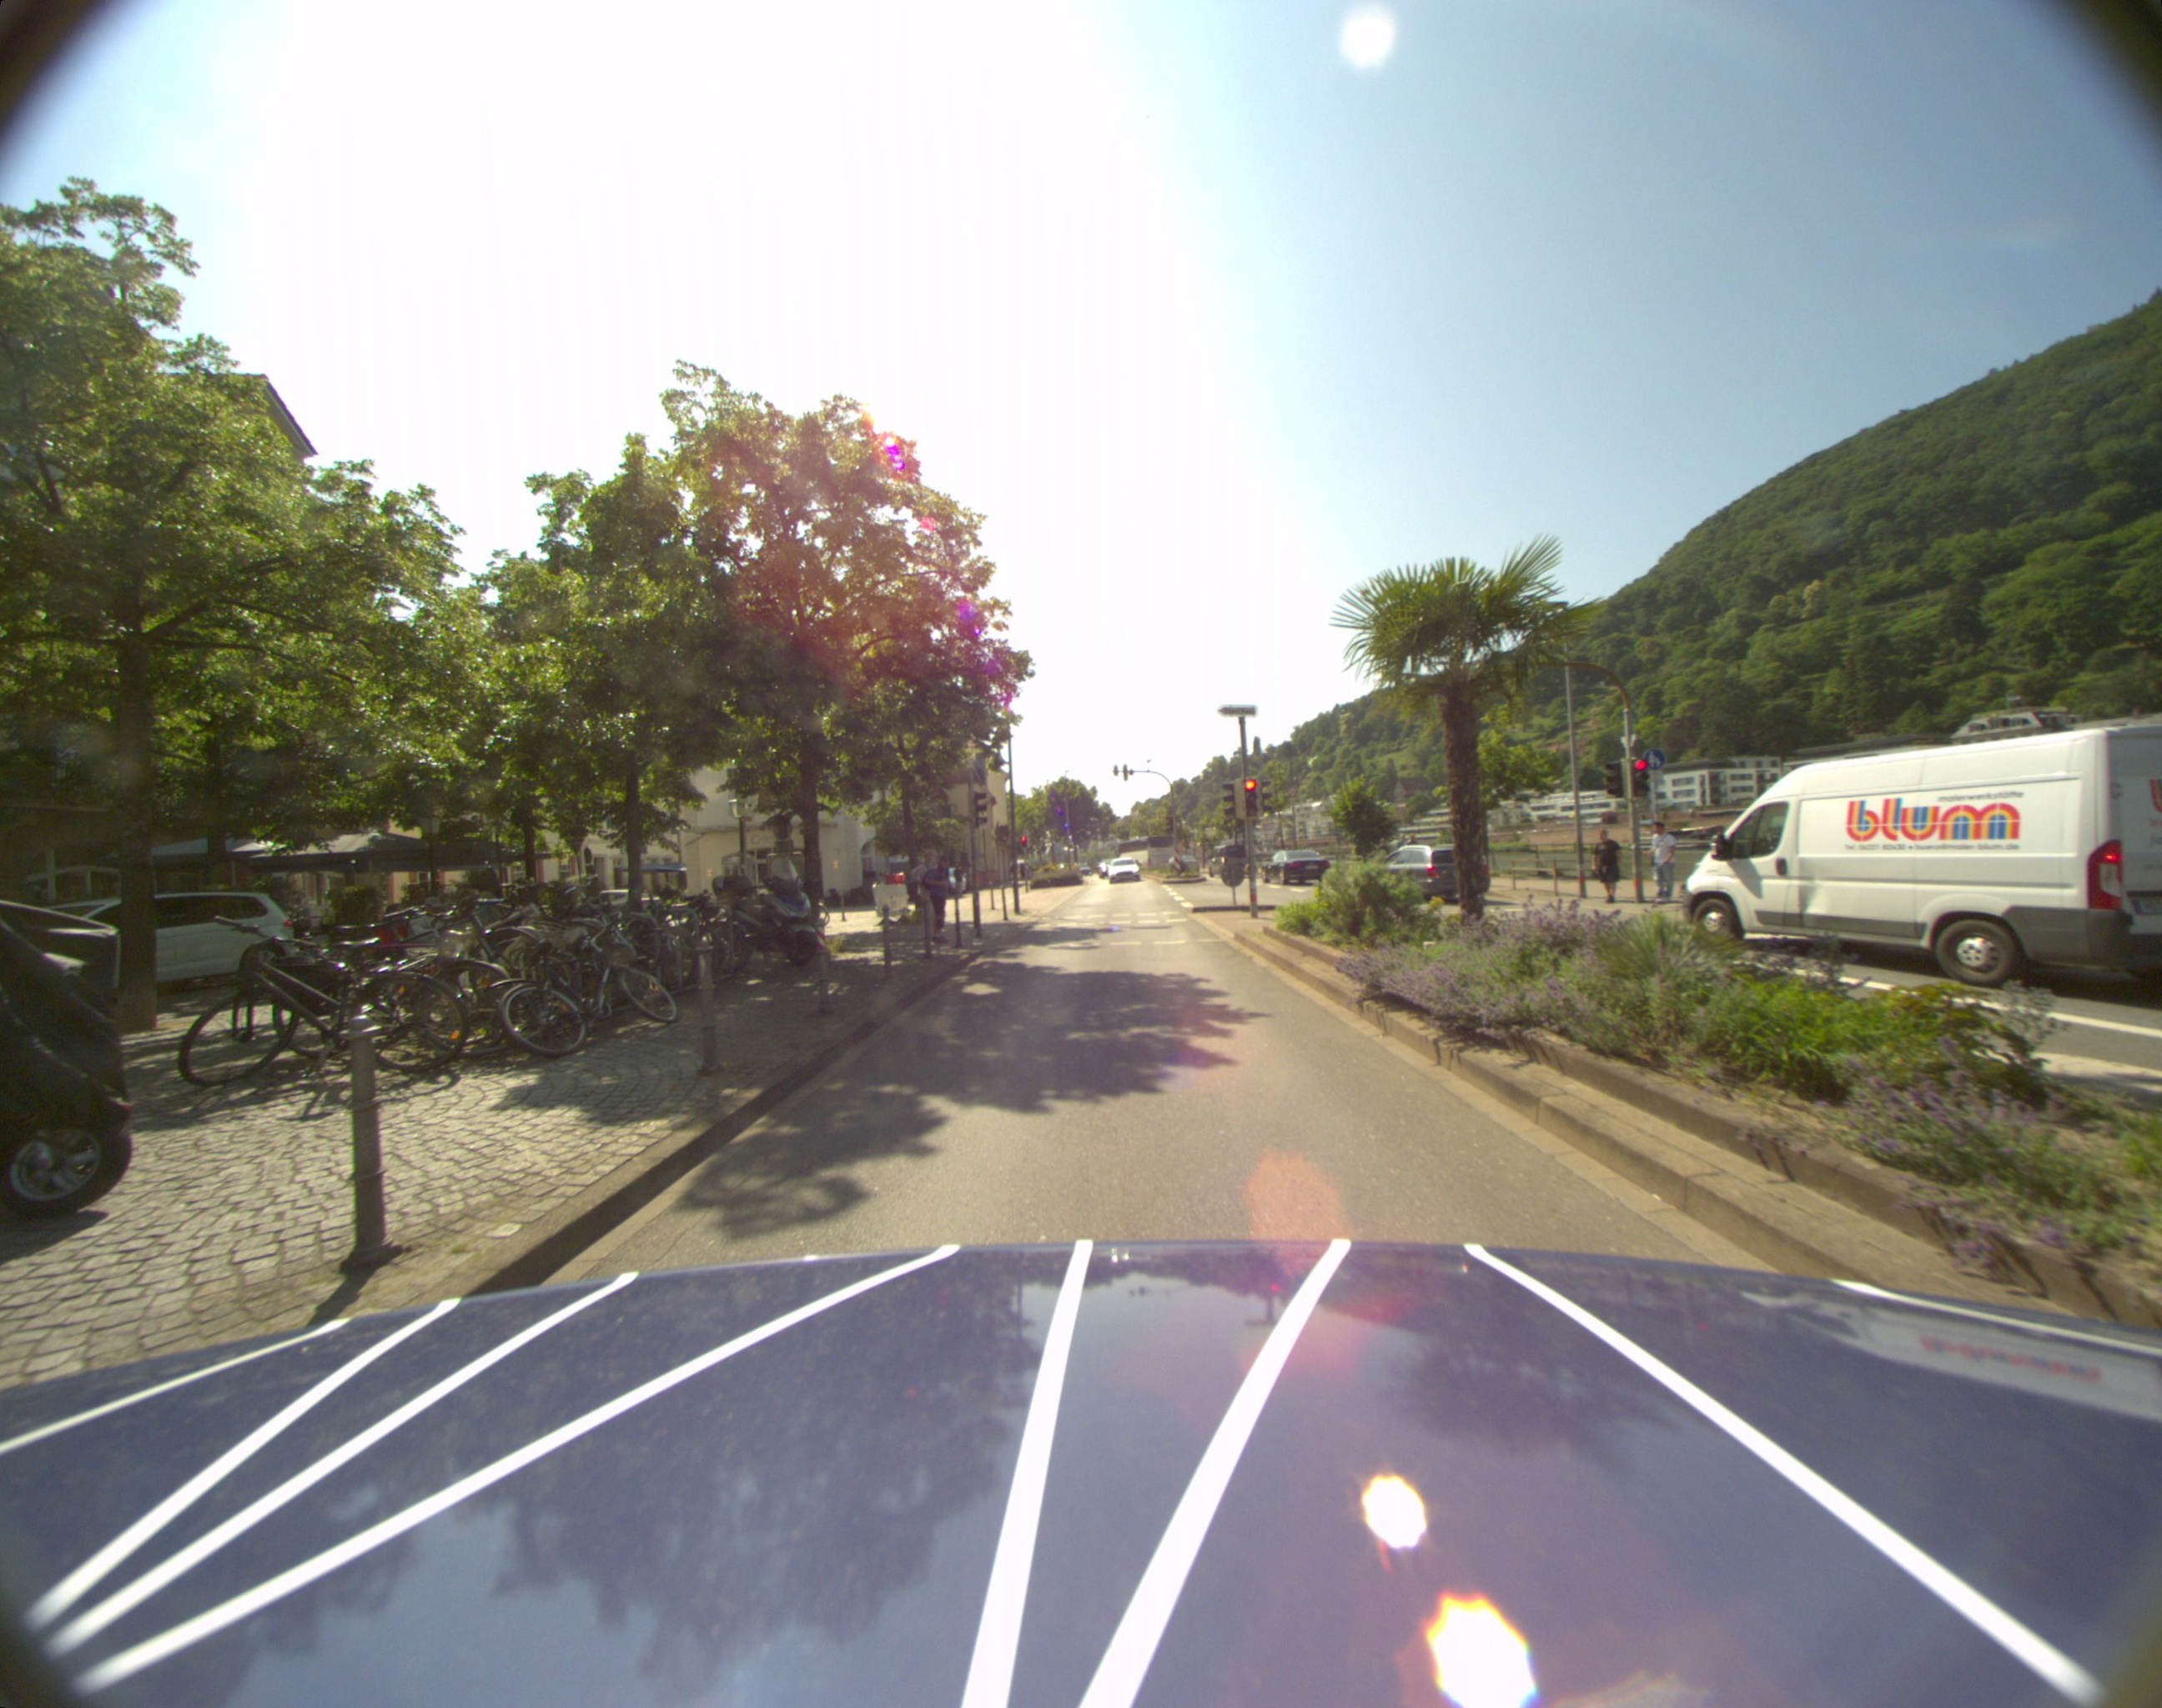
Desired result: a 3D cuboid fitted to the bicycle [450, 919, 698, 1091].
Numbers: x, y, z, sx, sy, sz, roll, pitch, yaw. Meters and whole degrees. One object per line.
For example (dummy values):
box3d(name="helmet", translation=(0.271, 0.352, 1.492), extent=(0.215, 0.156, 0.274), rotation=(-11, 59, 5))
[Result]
box3d(name="bicycle", translation=(-3.945, 1.120, 6.114), extent=(0.539, 1.002, 1.755), rotation=(-2, 1, 11))

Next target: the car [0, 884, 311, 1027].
box3d(name="car", translation=(-15.078, 1.483, 11.672), extent=(1.839, 1.780, 4.462), rotation=(-5, -1, 0))

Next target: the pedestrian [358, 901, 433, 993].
box3d(name="pedestrian", translation=(-10.092, 1.355, 11.199), extent=(0.493, 1.256, 0.580), rotation=(-2, 1, 4))

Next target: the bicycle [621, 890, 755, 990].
box3d(name="bicycle", translation=(-4.888, 1.038, 9.441), extent=(1.629, 1.163, 0.425), rotation=(-1, 1, 18))

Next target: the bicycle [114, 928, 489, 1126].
box3d(name="bicycle", translation=(-5.048, 1.094, 5.014), extent=(1.754, 1.126, 0.540), rotation=(0, 1, -7))

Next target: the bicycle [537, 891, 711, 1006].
box3d(name="bicycle", translation=(-5.053, 1.034, 8.462), extent=(1.632, 1.210, 0.413), rotation=(0, 1, -5))

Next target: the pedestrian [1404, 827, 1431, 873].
box3d(name="pedestrian", translation=(13.764, -0.168, 31.059), extent=(0.794, 1.846, 0.579), rotation=(-2, 1, -3))

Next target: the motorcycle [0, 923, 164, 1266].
box3d(name="motorcycle", translation=(-5.310, 0.984, 3.422), extent=(2.532, 1.268, 0.725), rotation=(-2, 1, 22))

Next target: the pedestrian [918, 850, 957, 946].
box3d(name="pedestrian", translation=(-2.709, 0.819, 14.361), extent=(0.541, 1.767, 0.582), rotation=(-1, 1, 4))

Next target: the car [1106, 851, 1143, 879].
box3d(name="car", translation=(2.569, 0.626, 45.469), extent=(1.998, 1.497, 4.591), rotation=(-2, 1, 1))

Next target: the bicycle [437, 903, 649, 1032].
box3d(name="bicycle", translation=(-5.043, 1.048, 7.176), extent=(1.632, 1.126, 0.413), rotation=(0, 1, -5))

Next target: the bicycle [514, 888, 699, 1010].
box3d(name="bicycle", translation=(-4.977, 0.985, 8.029), extent=(1.632, 1.210, 0.413), rotation=(0, 1, -5))

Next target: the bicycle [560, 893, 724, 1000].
box3d(name="bicycle", translation=(-5.043, 1.053, 8.768), extent=(1.632, 1.163, 0.350), rotation=(0, 1, -5))

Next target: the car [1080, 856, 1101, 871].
box3d(name="car", translation=(1.024, 0.994, 81.373), extent=(1.999, 1.497, 4.590), rotation=(-2, 1, -2))

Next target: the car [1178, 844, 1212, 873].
box3d(name="car", translation=(8.478, 0.312, 56.809), extent=(1.998, 2.002, 4.000), rotation=(-2, 1, 1))

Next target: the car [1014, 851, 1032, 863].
box3d(name="car", translation=(-9.651, 0.439, 126.447), extent=(2.001, 1.750, 4.583), rotation=(-3, 3, -18))

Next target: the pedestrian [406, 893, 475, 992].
box3d(name="pedestrian", translation=(-9.958, 1.364, 11.821), extent=(0.493, 1.451, 0.580), rotation=(-2, 1, 4))

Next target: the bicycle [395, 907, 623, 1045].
box3d(name="bicycle", translation=(-5.033, 1.057, 6.743), extent=(1.632, 1.126, 0.413), rotation=(0, 1, -5))

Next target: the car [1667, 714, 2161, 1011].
box3d(name="car", translation=(9.762, 0.041, 8.802), extent=(2.200, 2.511, 4.747), rotation=(0, 1, -1))

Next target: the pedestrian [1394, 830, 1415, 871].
box3d(name="pedestrian", translation=(13.935, -0.146, 32.728), extent=(0.593, 1.742, 0.503), rotation=(-2, 1, -3))

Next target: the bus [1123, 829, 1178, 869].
box3d(name="bus", translation=(6.418, -0.501, 72.246), extent=(2.657, 3.368, 10.785), rotation=(-3, 1, -8))

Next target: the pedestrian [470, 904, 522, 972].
box3d(name="pedestrian", translation=(-9.897, 1.409, 12.862), extent=(0.425, 1.068, 0.527), rotation=(-2, 1, -1))

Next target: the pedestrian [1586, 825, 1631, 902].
box3d(name="pedestrian", translation=(12.157, 0.232, 17.505), extent=(0.396, 1.704, 0.609), rotation=(-9, 1, -40))

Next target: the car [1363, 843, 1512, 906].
box3d(name="car", translation=(9.615, 0.479, 20.922), extent=(1.999, 1.444, 4.260), rotation=(-4, 1, 0))

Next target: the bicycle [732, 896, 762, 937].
box3d(name="bicycle", translation=(-8.562, 1.575, 19.443), extent=(0.329, 0.973, 1.623), rotation=(-2, 0, -36))

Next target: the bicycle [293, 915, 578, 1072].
box3d(name="bicycle", translation=(-5.039, 1.071, 5.997), extent=(1.753, 1.126, 0.464), rotation=(0, 1, -5))

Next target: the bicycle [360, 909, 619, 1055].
box3d(name="bicycle", translation=(-4.961, 1.056, 6.442), extent=(1.753, 1.126, 0.464), rotation=(0, 1, -5))

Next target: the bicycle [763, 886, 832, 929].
box3d(name="bicycle", translation=(-7.729, 1.468, 20.739), extent=(1.881, 1.124, 0.329), rotation=(-2, 0, 15))

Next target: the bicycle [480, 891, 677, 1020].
box3d(name="bicycle", translation=(-4.996, 0.998, 7.608), extent=(1.632, 1.210, 0.413), rotation=(0, 1, -5))

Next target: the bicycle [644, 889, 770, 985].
box3d(name="bicycle", translation=(-4.796, 1.045, 9.735), extent=(1.629, 1.163, 0.367), rotation=(-1, 1, 18))

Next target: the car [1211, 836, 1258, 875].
box3d(name="car", translation=(9.218, 0.049, 46.140), extent=(1.869, 2.137, 5.022), rotation=(-3, 1, 1))

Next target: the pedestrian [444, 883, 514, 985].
box3d(name="pedestrian", translation=(-9.389, 1.233, 11.874), extent=(0.493, 1.499, 0.667), rotation=(-2, 1, -1))

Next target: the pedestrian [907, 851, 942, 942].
box3d(name="pedestrian", translation=(-3.099, 0.826, 15.094), extent=(0.541, 1.767, 0.582), rotation=(-2, 1, -2))

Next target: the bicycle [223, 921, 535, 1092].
box3d(name="bicycle", translation=(-5.096, 1.086, 5.584), extent=(1.753, 1.126, 0.464), rotation=(0, 1, -5))

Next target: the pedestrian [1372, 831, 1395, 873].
box3d(name="pedestrian", translation=(13.039, -0.093, 32.763), extent=(0.593, 1.742, 0.780), rotation=(-2, 1, -3))

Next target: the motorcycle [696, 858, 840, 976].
box3d(name="motorcycle", translation=(-4.534, 0.861, 10.948), extent=(2.196, 1.519, 0.800), rotation=(-2, 1, 36))

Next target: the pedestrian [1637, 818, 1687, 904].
box3d(name="pedestrian", translation=(12.470, 0.156, 16.314), extent=(0.396, 1.783, 0.609), rotation=(-9, 1, -40))

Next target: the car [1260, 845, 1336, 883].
box3d(name="car", translation=(9.195, 0.372, 32.590), extent=(1.998, 1.449, 4.643), rotation=(-2, 1, 1))
